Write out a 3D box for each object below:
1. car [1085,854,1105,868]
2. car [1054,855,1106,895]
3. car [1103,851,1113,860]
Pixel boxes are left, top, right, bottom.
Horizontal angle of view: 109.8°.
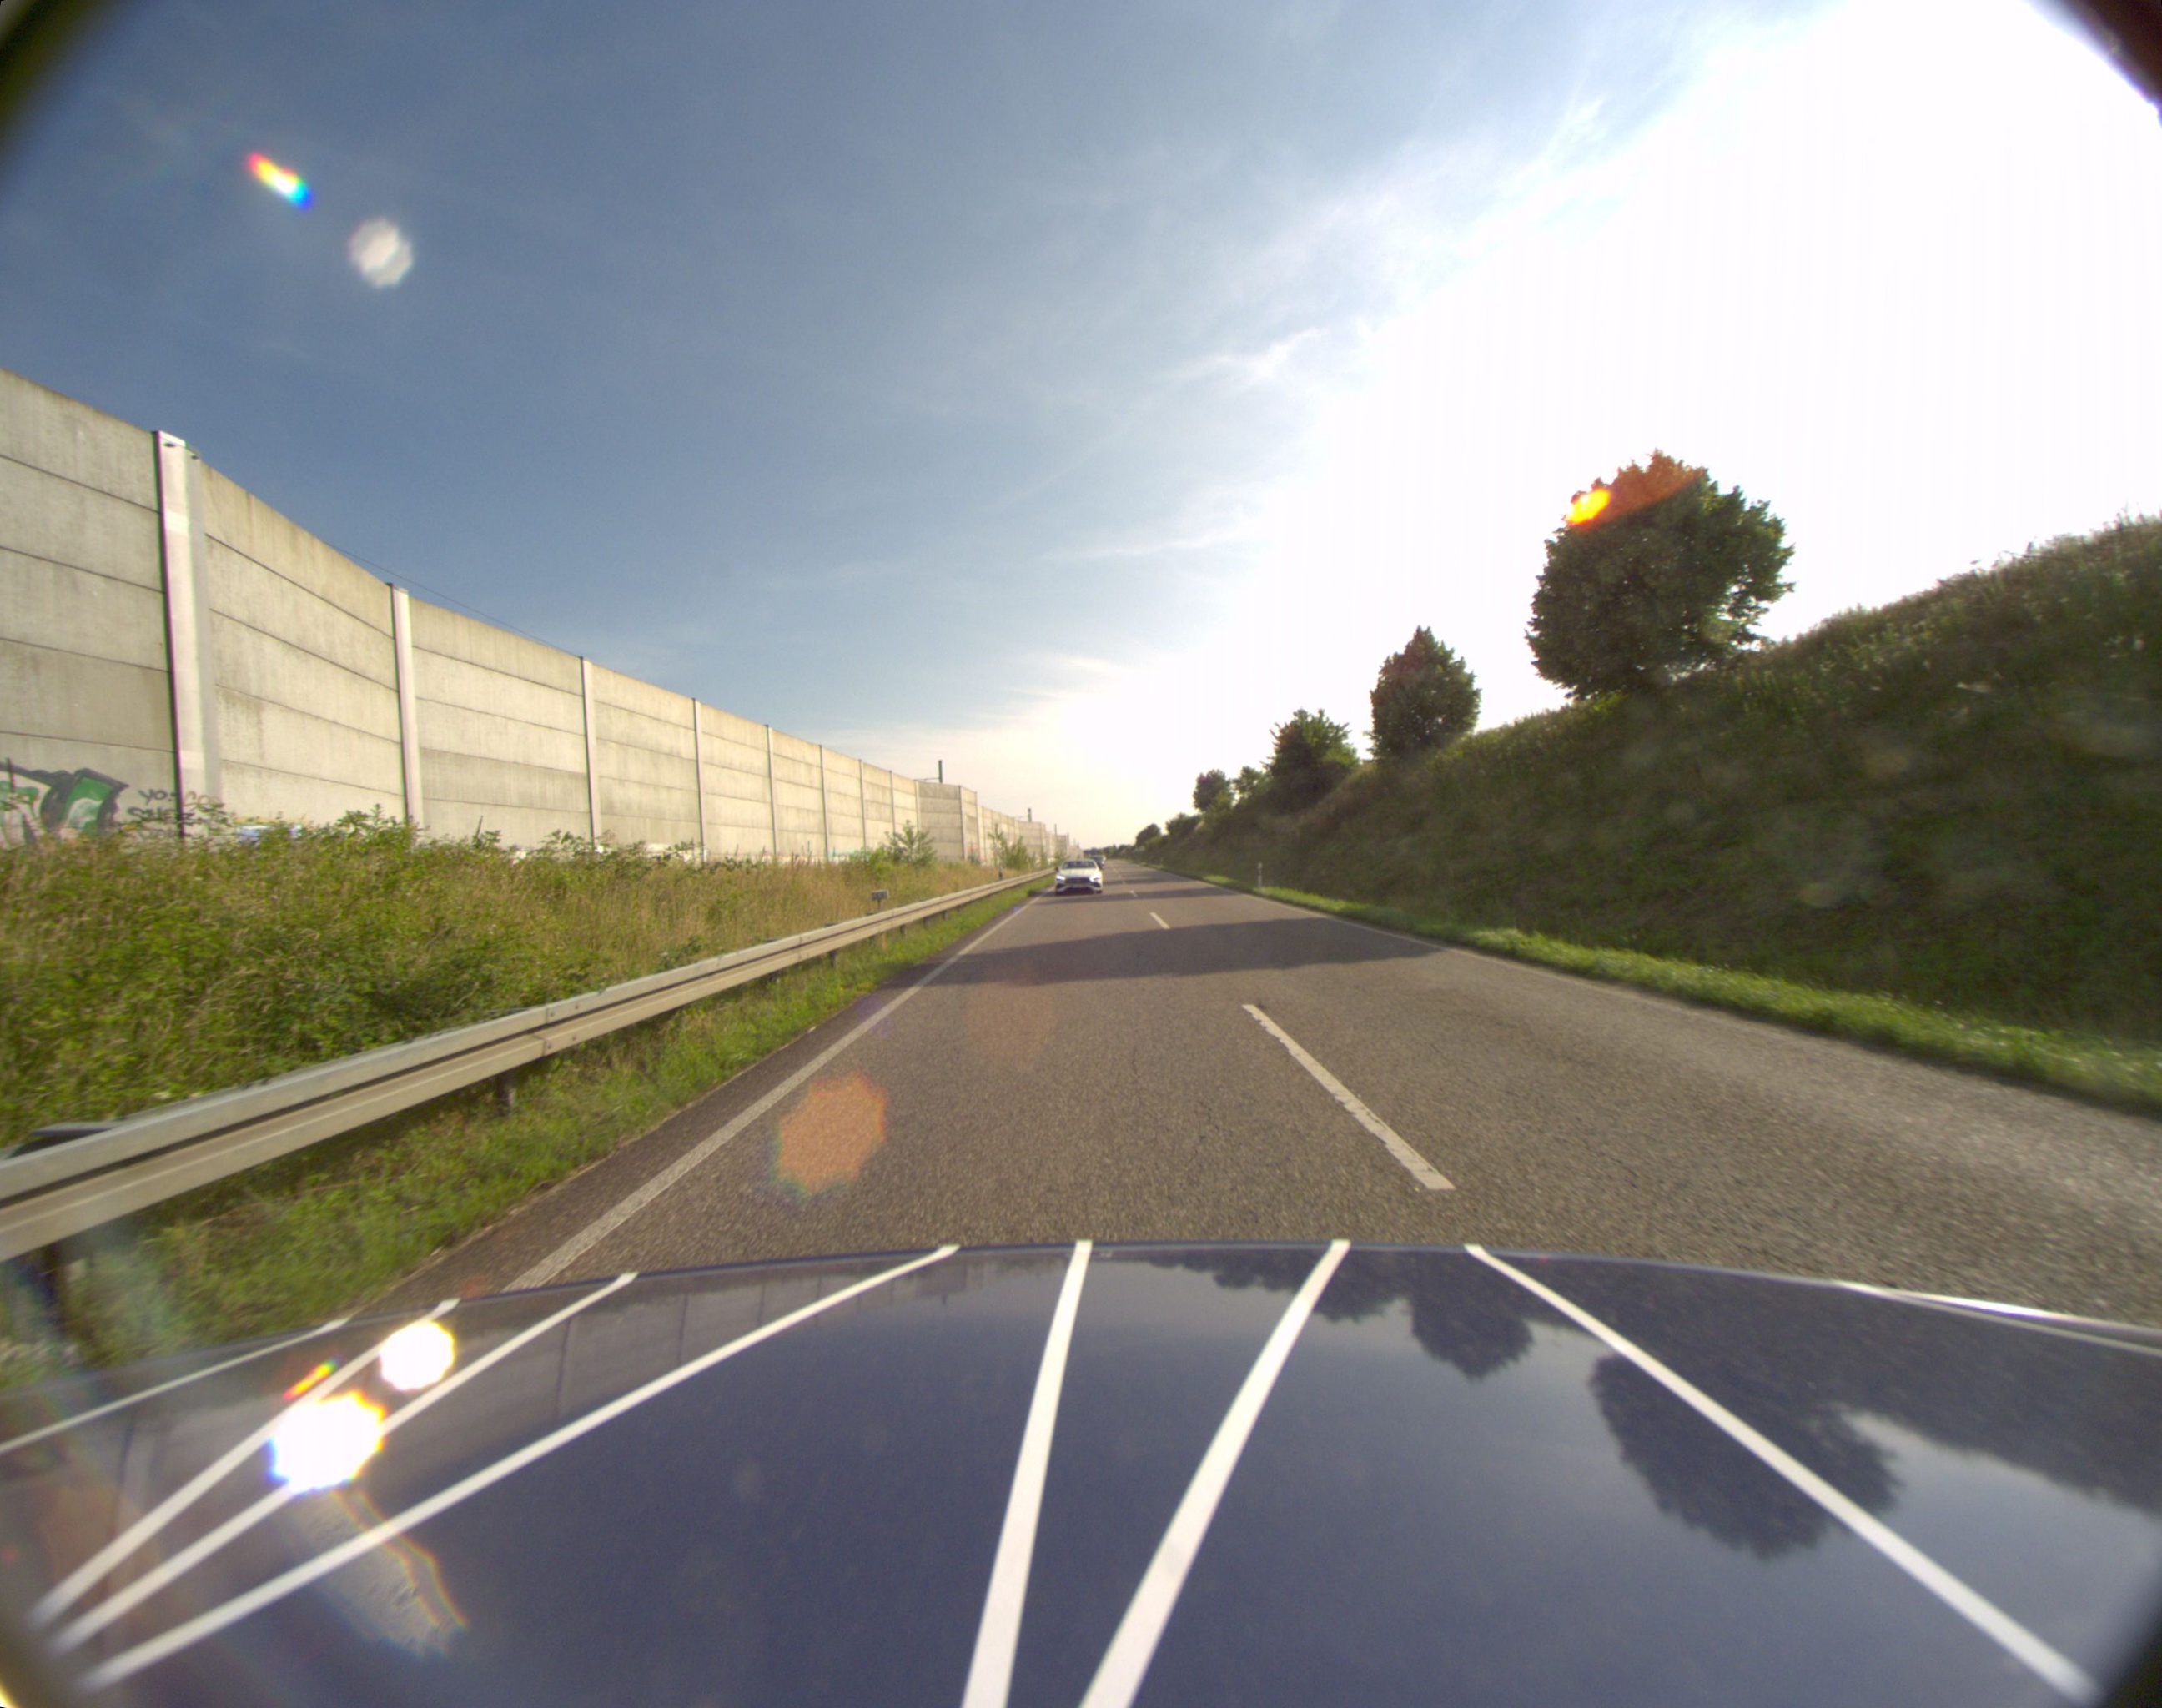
[{"bbox_3d":[1.492,0.711,79.494,1.929,1.399,4.975,-1,0,3],"label":"car"},{"bbox_3d":[0.056,0.802,31.900,1.929,1.399,4.974,-3,1,2],"label":"car"},{"bbox_3d":[5.787,0.319,163.034,1.998,1.746,4.000,-2,0,1],"label":"car"}]
